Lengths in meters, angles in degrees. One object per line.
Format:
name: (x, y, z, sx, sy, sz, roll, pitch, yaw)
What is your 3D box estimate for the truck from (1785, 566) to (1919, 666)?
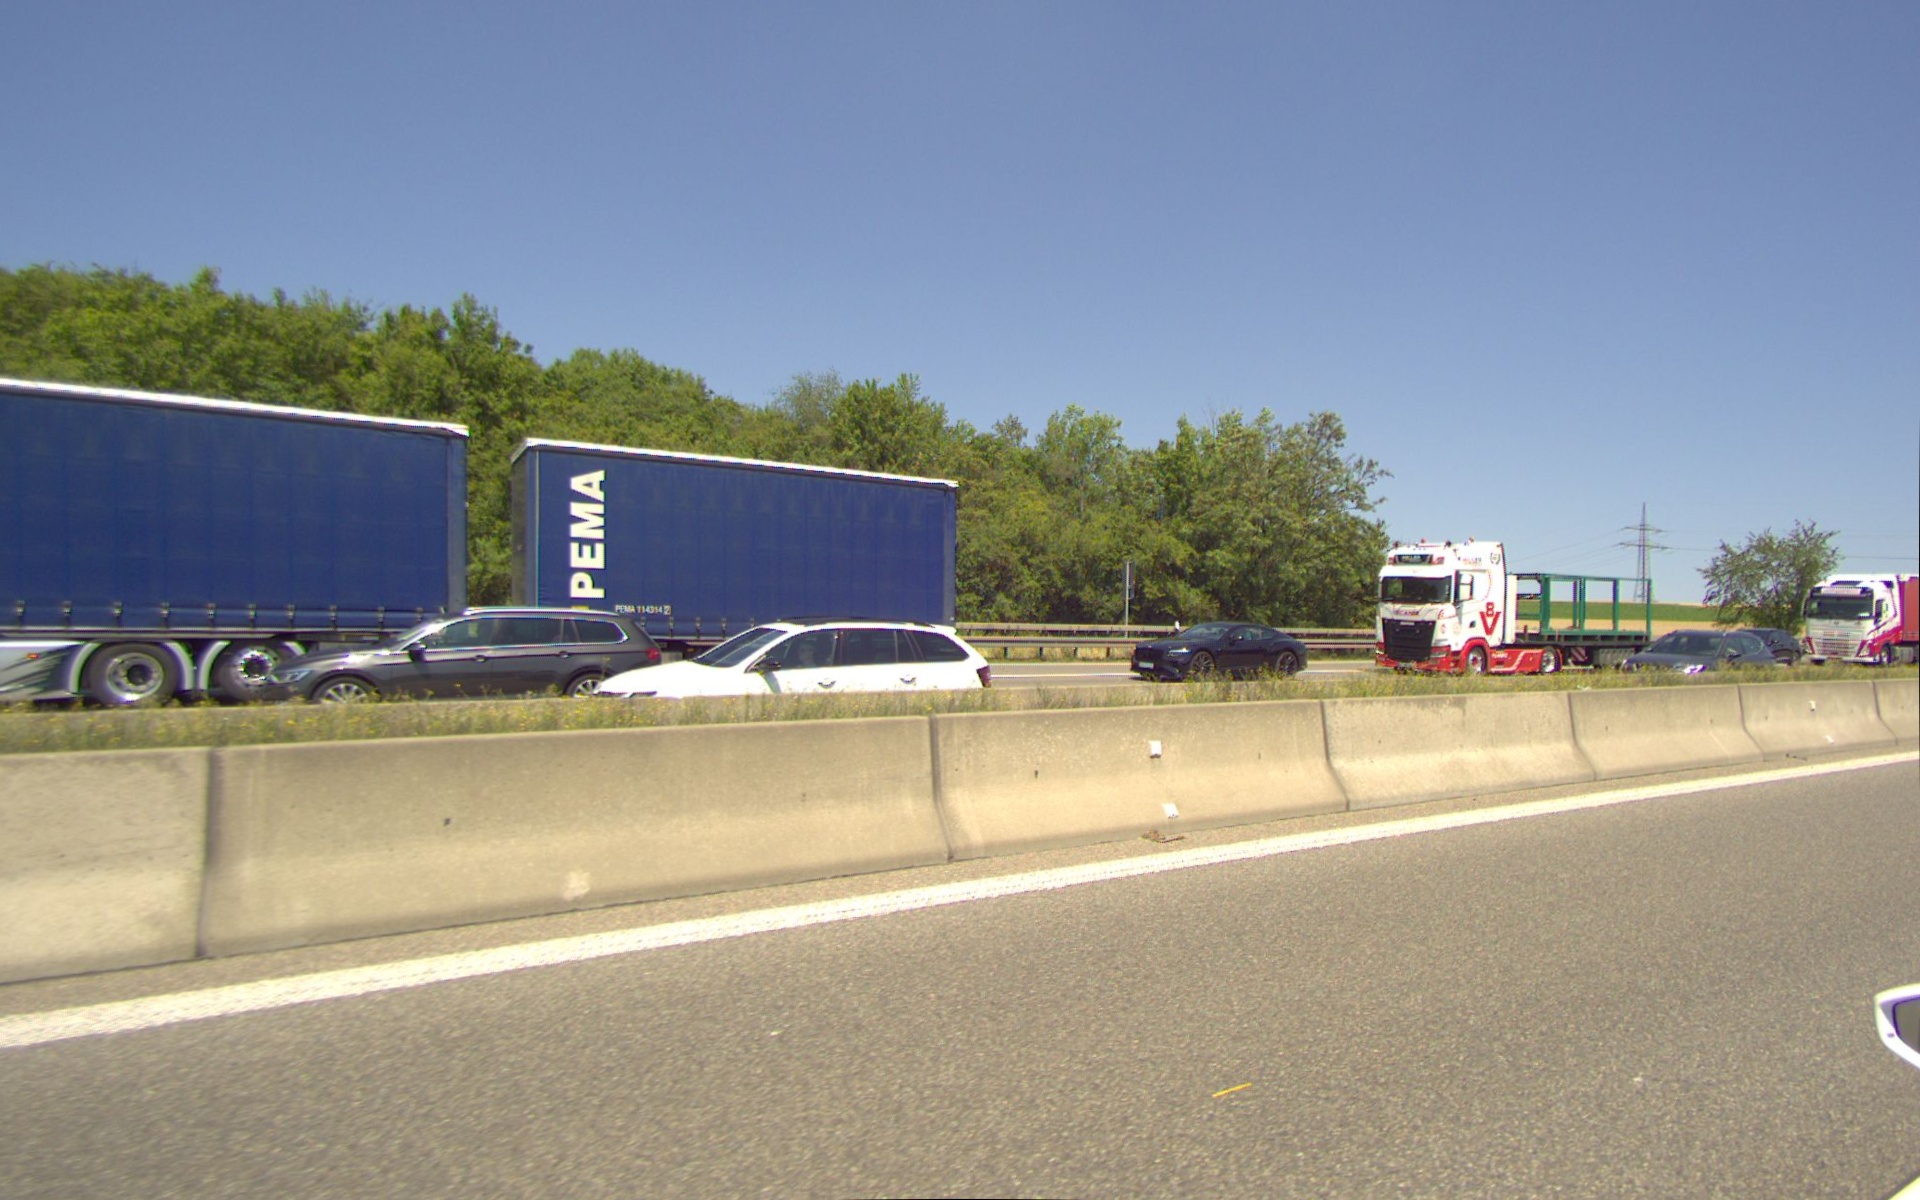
truck: (39.711, 0.706, 44.319, 6.237, 4.136, 3.022, 1, 0, -29)

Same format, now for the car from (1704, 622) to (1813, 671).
car: (31.481, 1.850, 39.589, 4.552, 1.652, 1.828, 4, -1, -31)

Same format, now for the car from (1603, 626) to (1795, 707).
car: (16.467, 1.414, 22.328, 4.501, 1.604, 1.828, 1, 0, -31)

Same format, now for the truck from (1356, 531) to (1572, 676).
truck: (15.110, 0.149, 30.041, 6.105, 3.928, 2.887, 1, 0, -30)

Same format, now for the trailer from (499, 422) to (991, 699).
trailer: (-3.824, -0.502, 18.833, 8.493, 4.248, 2.972, 2, -1, -30)

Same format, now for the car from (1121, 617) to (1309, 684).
car: (6.205, 1.201, 24.233, 4.595, 1.450, 1.648, 2, -1, -31)

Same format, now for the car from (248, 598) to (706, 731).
car: (-6.174, 0.791, 13.297, 5.112, 1.474, 1.983, 2, -1, -31)

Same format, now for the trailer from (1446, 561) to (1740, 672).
trailer: (21.638, 0.620, 33.892, 12.633, 3.248, 2.844, 1, 0, -30)

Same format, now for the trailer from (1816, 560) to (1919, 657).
trailer: (45.906, 0.512, 47.676, 14.202, 4.155, 3.073, 1, 0, -28)

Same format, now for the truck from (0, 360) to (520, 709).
truck: (-12.080, -0.788, 13.960, 10.608, 4.290, 2.987, 2, -1, -31)

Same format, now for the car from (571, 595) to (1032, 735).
car: (-1.697, 0.751, 11.430, 4.819, 1.301, 1.828, 4, -1, -31)
